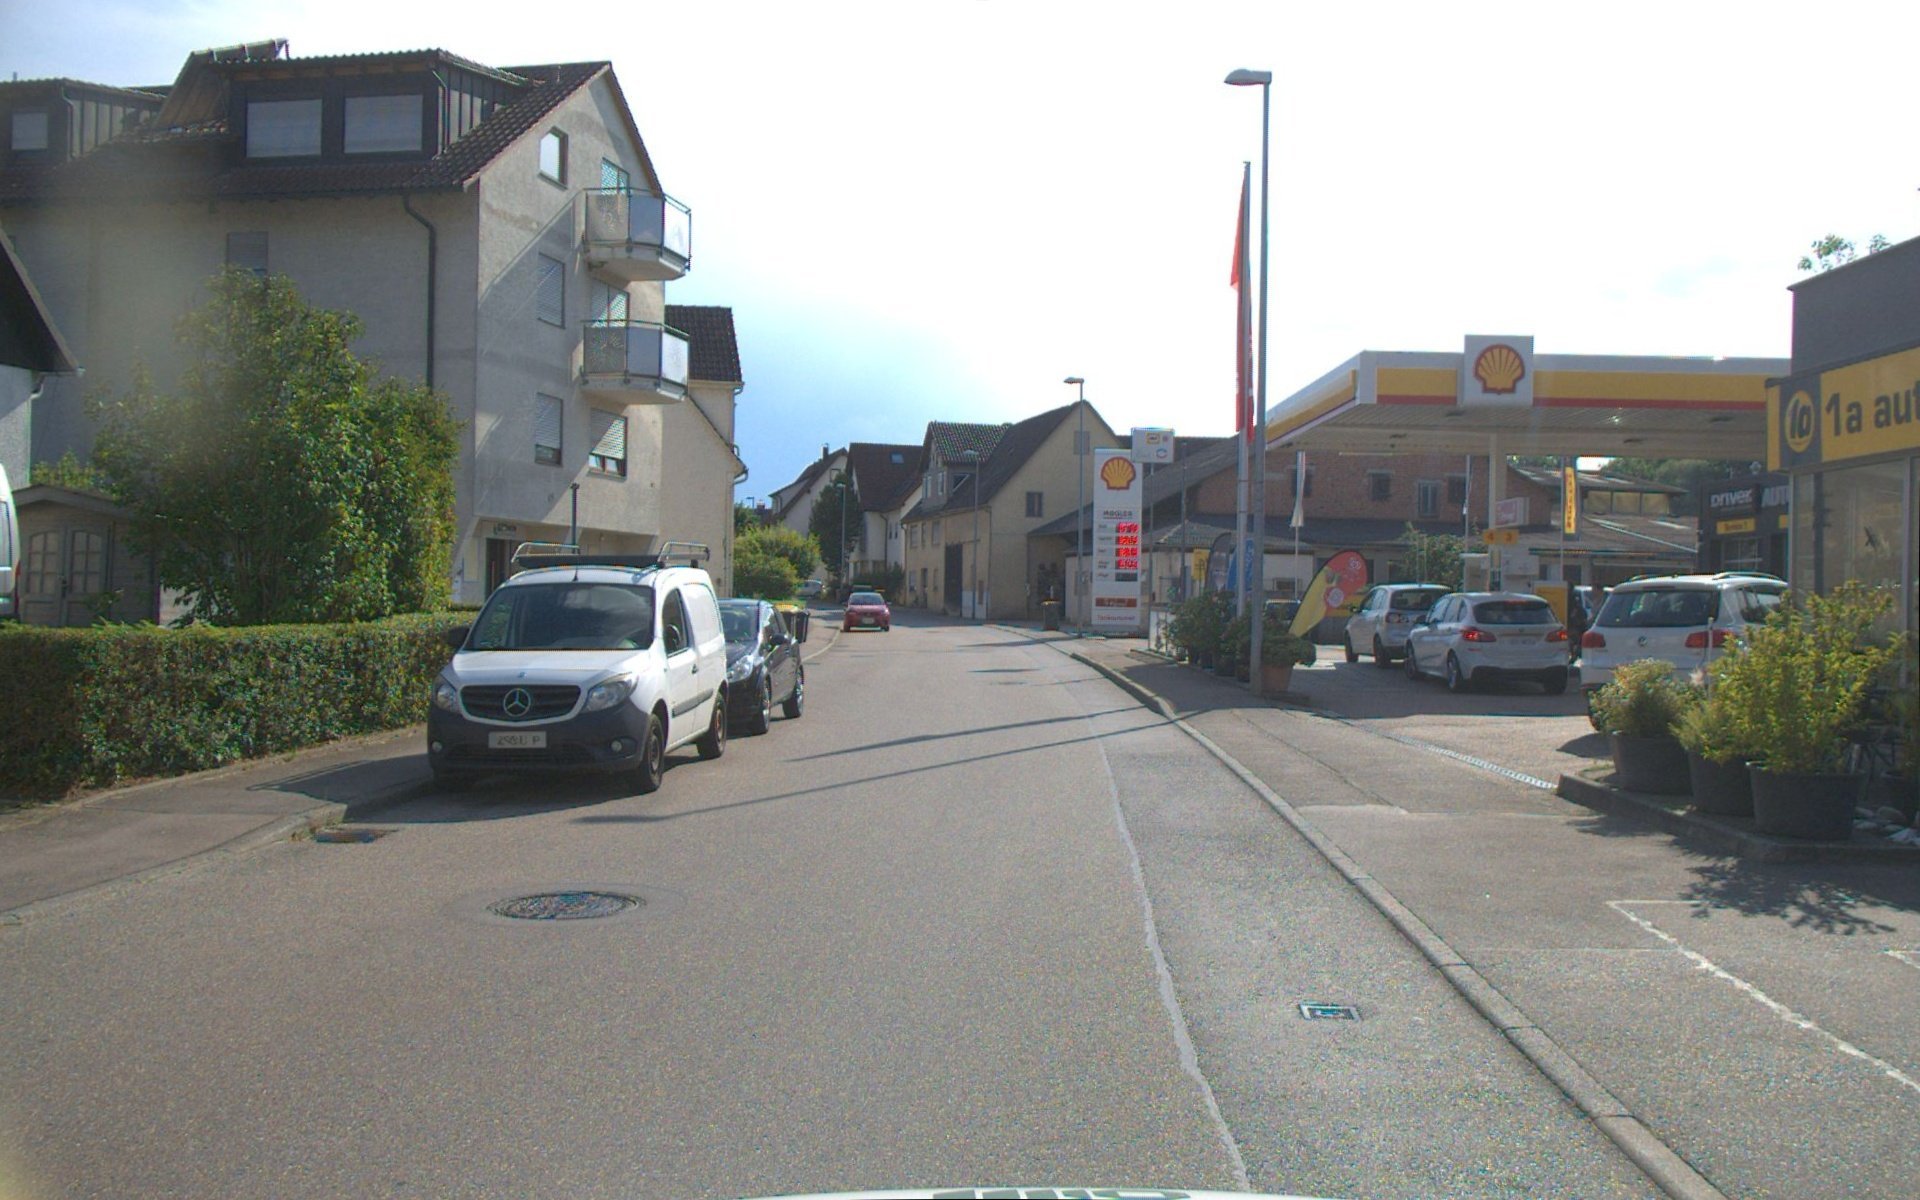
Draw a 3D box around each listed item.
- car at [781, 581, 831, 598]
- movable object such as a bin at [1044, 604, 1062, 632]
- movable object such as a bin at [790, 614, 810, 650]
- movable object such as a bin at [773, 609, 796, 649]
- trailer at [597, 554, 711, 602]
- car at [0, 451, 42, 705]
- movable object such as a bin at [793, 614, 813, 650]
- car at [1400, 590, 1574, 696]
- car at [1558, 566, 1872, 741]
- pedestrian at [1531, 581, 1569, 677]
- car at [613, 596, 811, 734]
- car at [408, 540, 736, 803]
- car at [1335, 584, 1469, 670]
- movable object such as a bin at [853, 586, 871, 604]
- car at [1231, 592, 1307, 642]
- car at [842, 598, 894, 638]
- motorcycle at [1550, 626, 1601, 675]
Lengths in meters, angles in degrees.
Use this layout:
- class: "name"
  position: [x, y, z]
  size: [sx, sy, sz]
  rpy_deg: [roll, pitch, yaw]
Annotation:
- class: "car"
  position: [-12.460, -0.854, 133.683]
  size: [3.912, 1.376, 1.707]
  rpy_deg: [1, 0, -8]
- class: "movable object such as a bin"
  position: [3.611, 0.699, 64.212]
  size: [0.640, 1.092, 0.513]
  rpy_deg: [1, 0, -2]
- class: "movable object such as a bin"
  position: [-4.740, 0.942, 48.944]
  size: [0.520, 1.040, 0.457]
  rpy_deg: [-1, 0, 0]
- class: "movable object such as a bin"
  position: [-5.002, 0.829, 47.163]
  size: [0.576, 1.103, 0.508]
  rpy_deg: [-1, 0, 0]
- class: "trailer"
  position: [-6.896, -0.490, 37.472]
  size: [1.302, 0.870, 2.892]
  rpy_deg: [3, -2, 18]
- class: "car"
  position: [-11.289, -0.247, 14.892]
  size: [2.113, 2.641, 6.098]
  rpy_deg: [2, 0, 6]
- class: "movable object such as a bin"
  position: [-4.692, 0.953, 49.484]
  size: [0.520, 1.040, 0.457]
  rpy_deg: [-1, 0, 0]
- class: "car"
  position: [8.608, 0.643, 27.352]
  size: [1.637, 1.605, 3.999]
  rpy_deg: [0, 1, 1]
- class: "car"
  position: [8.352, 0.506, 18.155]
  size: [4.043, 1.704, 1.652]
  rpy_deg: [-1, 0, -42]
- class: "pedestrian"
  position: [10.567, 0.517, 29.631]
  size: [0.490, 1.699, 0.534]
  rpy_deg: [1, 0, 1]
- class: "car"
  position: [-2.821, 0.686, 19.569]
  size: [1.638, 1.477, 3.835]
  rpy_deg: [0, 0, 2]
- class: "car"
  position: [-3.116, 0.519, 14.159]
  size: [1.681, 1.905, 4.193]
  rpy_deg: [0, 0, 2]
- class: "car"
  position: [8.697, 0.480, 32.855]
  size: [1.637, 1.605, 3.999]
  rpy_deg: [0, 1, 1]
- class: "movable object such as a bin"
  position: [-6.710, -0.350, 113.221]
  size: [1.140, 1.189, 0.653]
  rpy_deg: [1, 0, -11]
- class: "car"
  position: [9.841, 0.511, 52.975]
  size: [1.546, 1.452, 4.380]
  rpy_deg: [1, 1, -1]
- class: "car"
  position: [-3.607, 0.681, 64.202]
  size: [1.677, 1.460, 3.773]
  rpy_deg: [-1, 0, -8]
- class: "motorcycle"
  position: [11.785, 0.948, 31.725]
  size: [0.385, 0.889, 1.813]
  rpy_deg: [1, 0, 3]
